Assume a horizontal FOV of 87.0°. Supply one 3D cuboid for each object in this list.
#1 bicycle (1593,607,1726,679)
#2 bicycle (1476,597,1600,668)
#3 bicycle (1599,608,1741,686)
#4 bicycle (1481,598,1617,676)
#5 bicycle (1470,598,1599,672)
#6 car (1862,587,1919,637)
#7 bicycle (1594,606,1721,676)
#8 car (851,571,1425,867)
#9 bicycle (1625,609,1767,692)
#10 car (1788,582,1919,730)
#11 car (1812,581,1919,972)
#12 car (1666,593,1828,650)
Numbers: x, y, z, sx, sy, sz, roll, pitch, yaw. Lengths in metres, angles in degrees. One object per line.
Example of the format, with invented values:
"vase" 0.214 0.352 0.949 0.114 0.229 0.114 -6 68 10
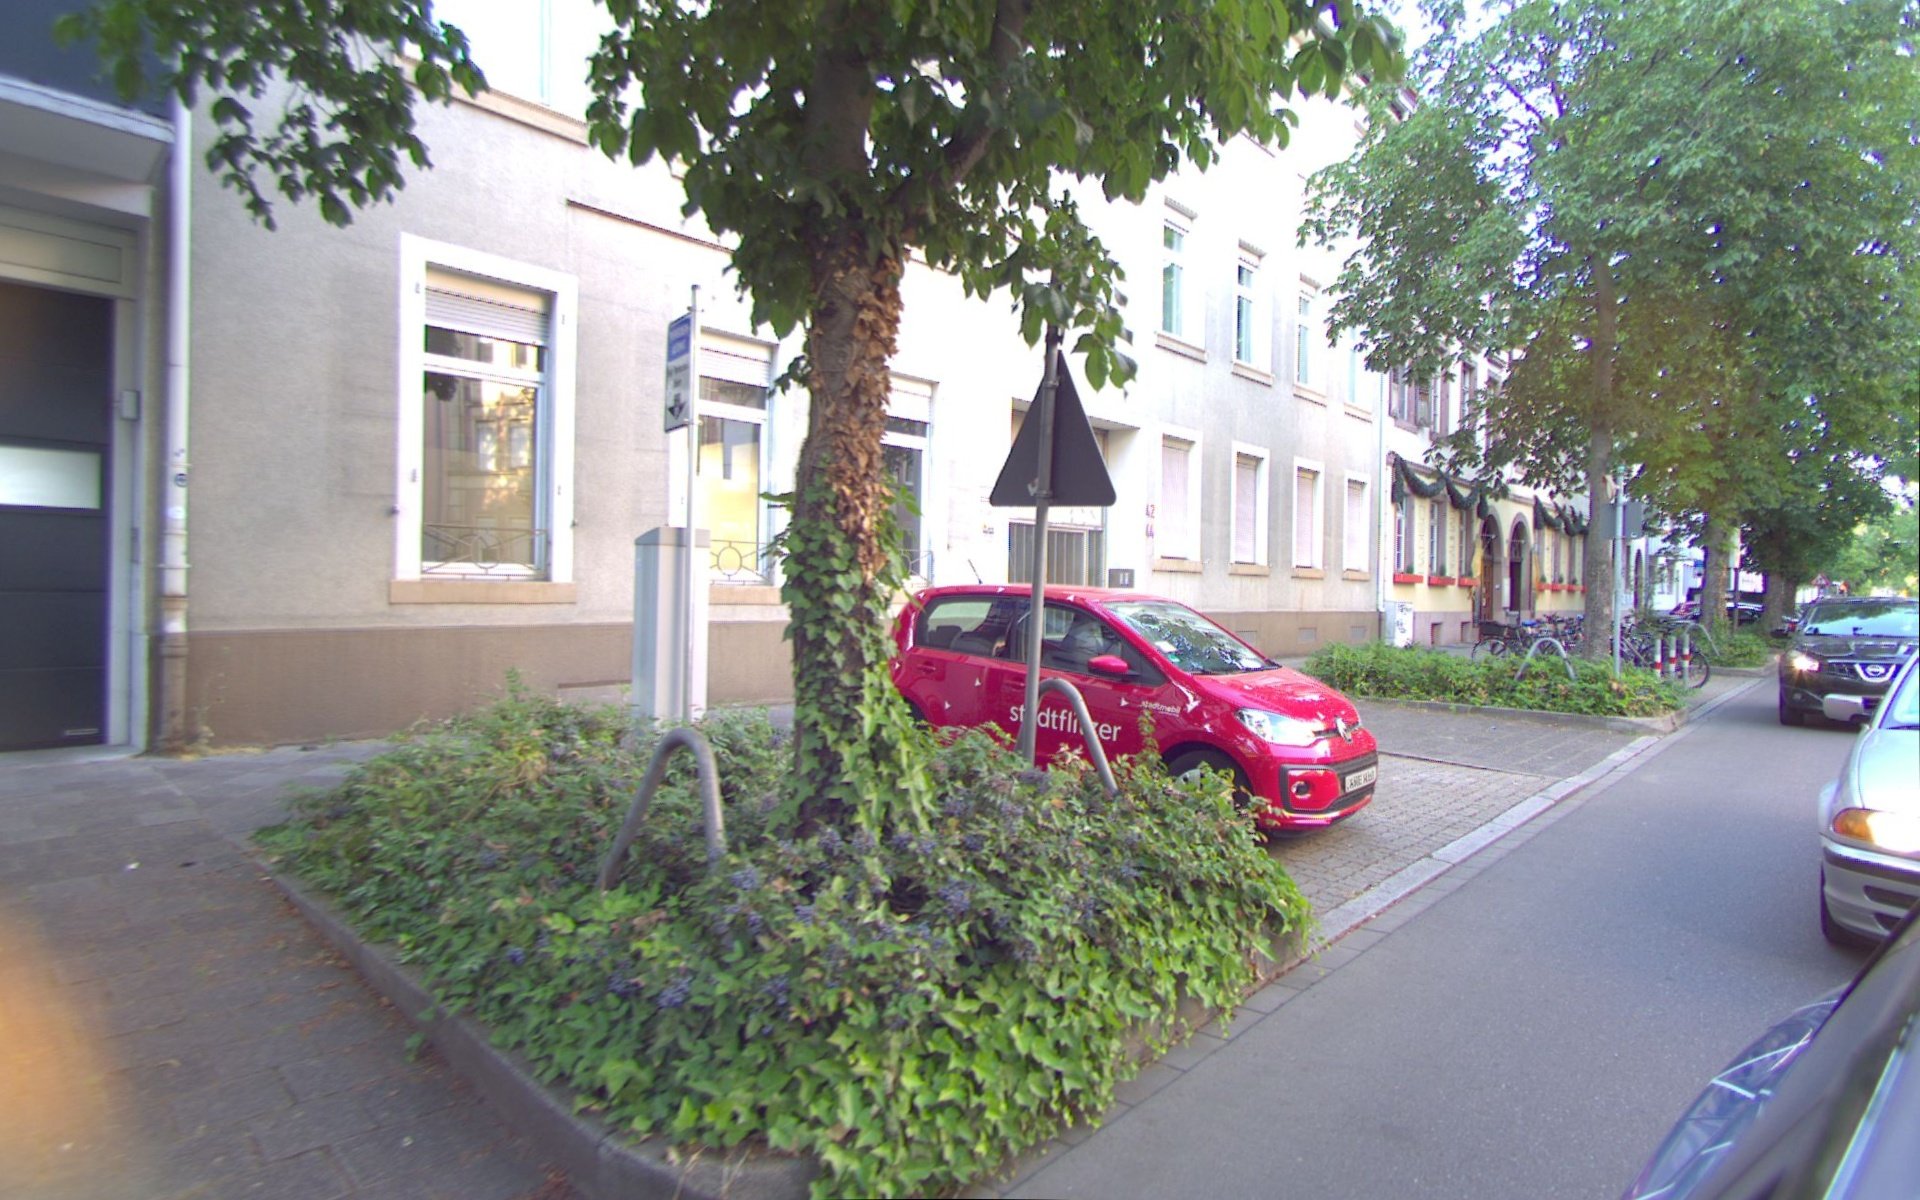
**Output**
"bicycle" 13.239 0.783 19.189 2.019 1.242 0.528 2 1 39
"bicycle" 11.180 0.602 19.604 2.017 1.242 0.529 2 1 37
"bicycle" 12.603 0.799 17.996 2.019 1.242 0.528 2 1 39
"bicycle" 10.332 0.625 17.800 2.014 1.242 0.529 2 1 33
"bicycle" 10.548 0.615 18.610 2.014 1.242 0.529 2 1 33
"car" 31.473 0.364 33.821 1.802 1.571 3.936 2 1 44
"bicycle" 13.720 0.773 19.942 2.019 1.242 0.528 2 1 39
"car" 1.058 0.568 7.008 3.609 1.495 1.639 2 1 43
"bicycle" 12.099 0.799 16.710 1.835 1.242 0.529 2 1 33
"car" 11.523 0.595 12.361 1.802 1.571 3.935 2 1 45
"car" 5.589 0.671 4.793 4.358 1.460 1.710 0 1 -41
"car" 26.872 0.677 34.620 4.232 1.761 1.715 2 1 43
